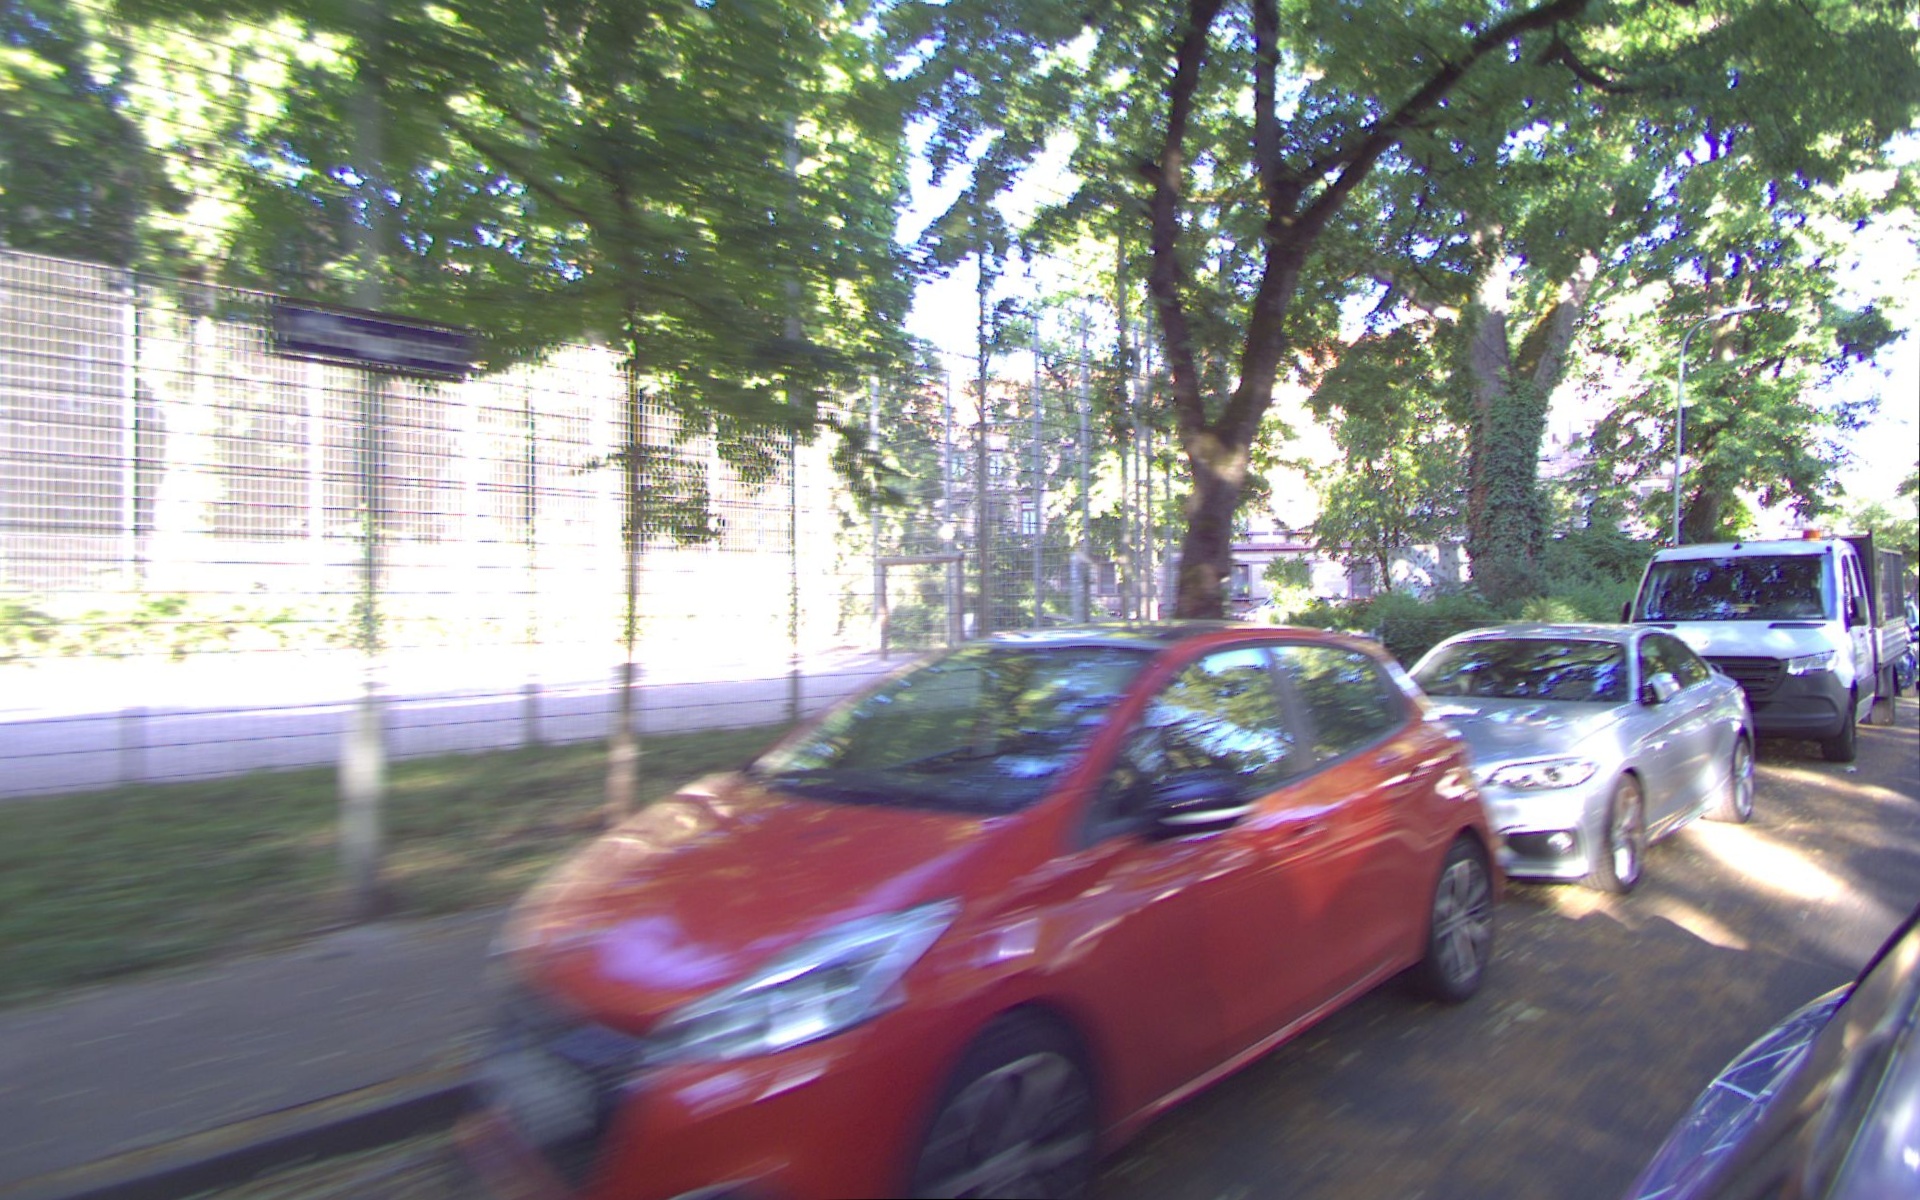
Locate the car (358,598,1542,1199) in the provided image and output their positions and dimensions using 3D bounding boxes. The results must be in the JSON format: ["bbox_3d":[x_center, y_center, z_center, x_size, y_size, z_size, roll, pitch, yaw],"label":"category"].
[{"bbox_3d":[0.343,0.745,3.433,3.881,1.472,1.674,0,-1,-42],"label":"car"}]

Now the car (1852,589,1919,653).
[{"bbox_3d":[27.175,0.573,29.365,1.786,1.729,4.308,-1,-1,43],"label":"car"}]

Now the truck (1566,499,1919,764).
[{"bbox_3d":[9.856,0.287,12.408,6.816,2.416,2.298,0,-1,-43],"label":"truck"}]

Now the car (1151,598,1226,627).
[{"bbox_3d":[12.515,0.654,55.481,3.942,1.427,1.792,1,1,15],"label":"car"}]

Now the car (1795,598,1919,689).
[{"bbox_3d":[16.521,0.706,18.343,3.828,1.477,1.673,0,-1,-44],"label":"car"}]

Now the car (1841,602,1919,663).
[{"bbox_3d":[23.657,0.777,25.720,1.672,1.408,4.197,-1,-1,44],"label":"car"}]

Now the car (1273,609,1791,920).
[{"bbox_3d":[4.017,0.790,6.774,4.223,1.415,1.675,0,-1,-41],"label":"car"}]

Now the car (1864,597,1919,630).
[{"bbox_3d":[50.134,0.704,54.289,1.930,1.643,4.188,-5,-3,36],"label":"car"}]

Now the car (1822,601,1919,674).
[{"bbox_3d":[20.378,0.774,22.435,1.672,1.477,3.831,-1,-1,44],"label":"car"}]

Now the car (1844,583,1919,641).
[{"bbox_3d":[33.272,0.398,36.440,1.962,1.960,5.378,-1,-1,39],"label":"car"}]
